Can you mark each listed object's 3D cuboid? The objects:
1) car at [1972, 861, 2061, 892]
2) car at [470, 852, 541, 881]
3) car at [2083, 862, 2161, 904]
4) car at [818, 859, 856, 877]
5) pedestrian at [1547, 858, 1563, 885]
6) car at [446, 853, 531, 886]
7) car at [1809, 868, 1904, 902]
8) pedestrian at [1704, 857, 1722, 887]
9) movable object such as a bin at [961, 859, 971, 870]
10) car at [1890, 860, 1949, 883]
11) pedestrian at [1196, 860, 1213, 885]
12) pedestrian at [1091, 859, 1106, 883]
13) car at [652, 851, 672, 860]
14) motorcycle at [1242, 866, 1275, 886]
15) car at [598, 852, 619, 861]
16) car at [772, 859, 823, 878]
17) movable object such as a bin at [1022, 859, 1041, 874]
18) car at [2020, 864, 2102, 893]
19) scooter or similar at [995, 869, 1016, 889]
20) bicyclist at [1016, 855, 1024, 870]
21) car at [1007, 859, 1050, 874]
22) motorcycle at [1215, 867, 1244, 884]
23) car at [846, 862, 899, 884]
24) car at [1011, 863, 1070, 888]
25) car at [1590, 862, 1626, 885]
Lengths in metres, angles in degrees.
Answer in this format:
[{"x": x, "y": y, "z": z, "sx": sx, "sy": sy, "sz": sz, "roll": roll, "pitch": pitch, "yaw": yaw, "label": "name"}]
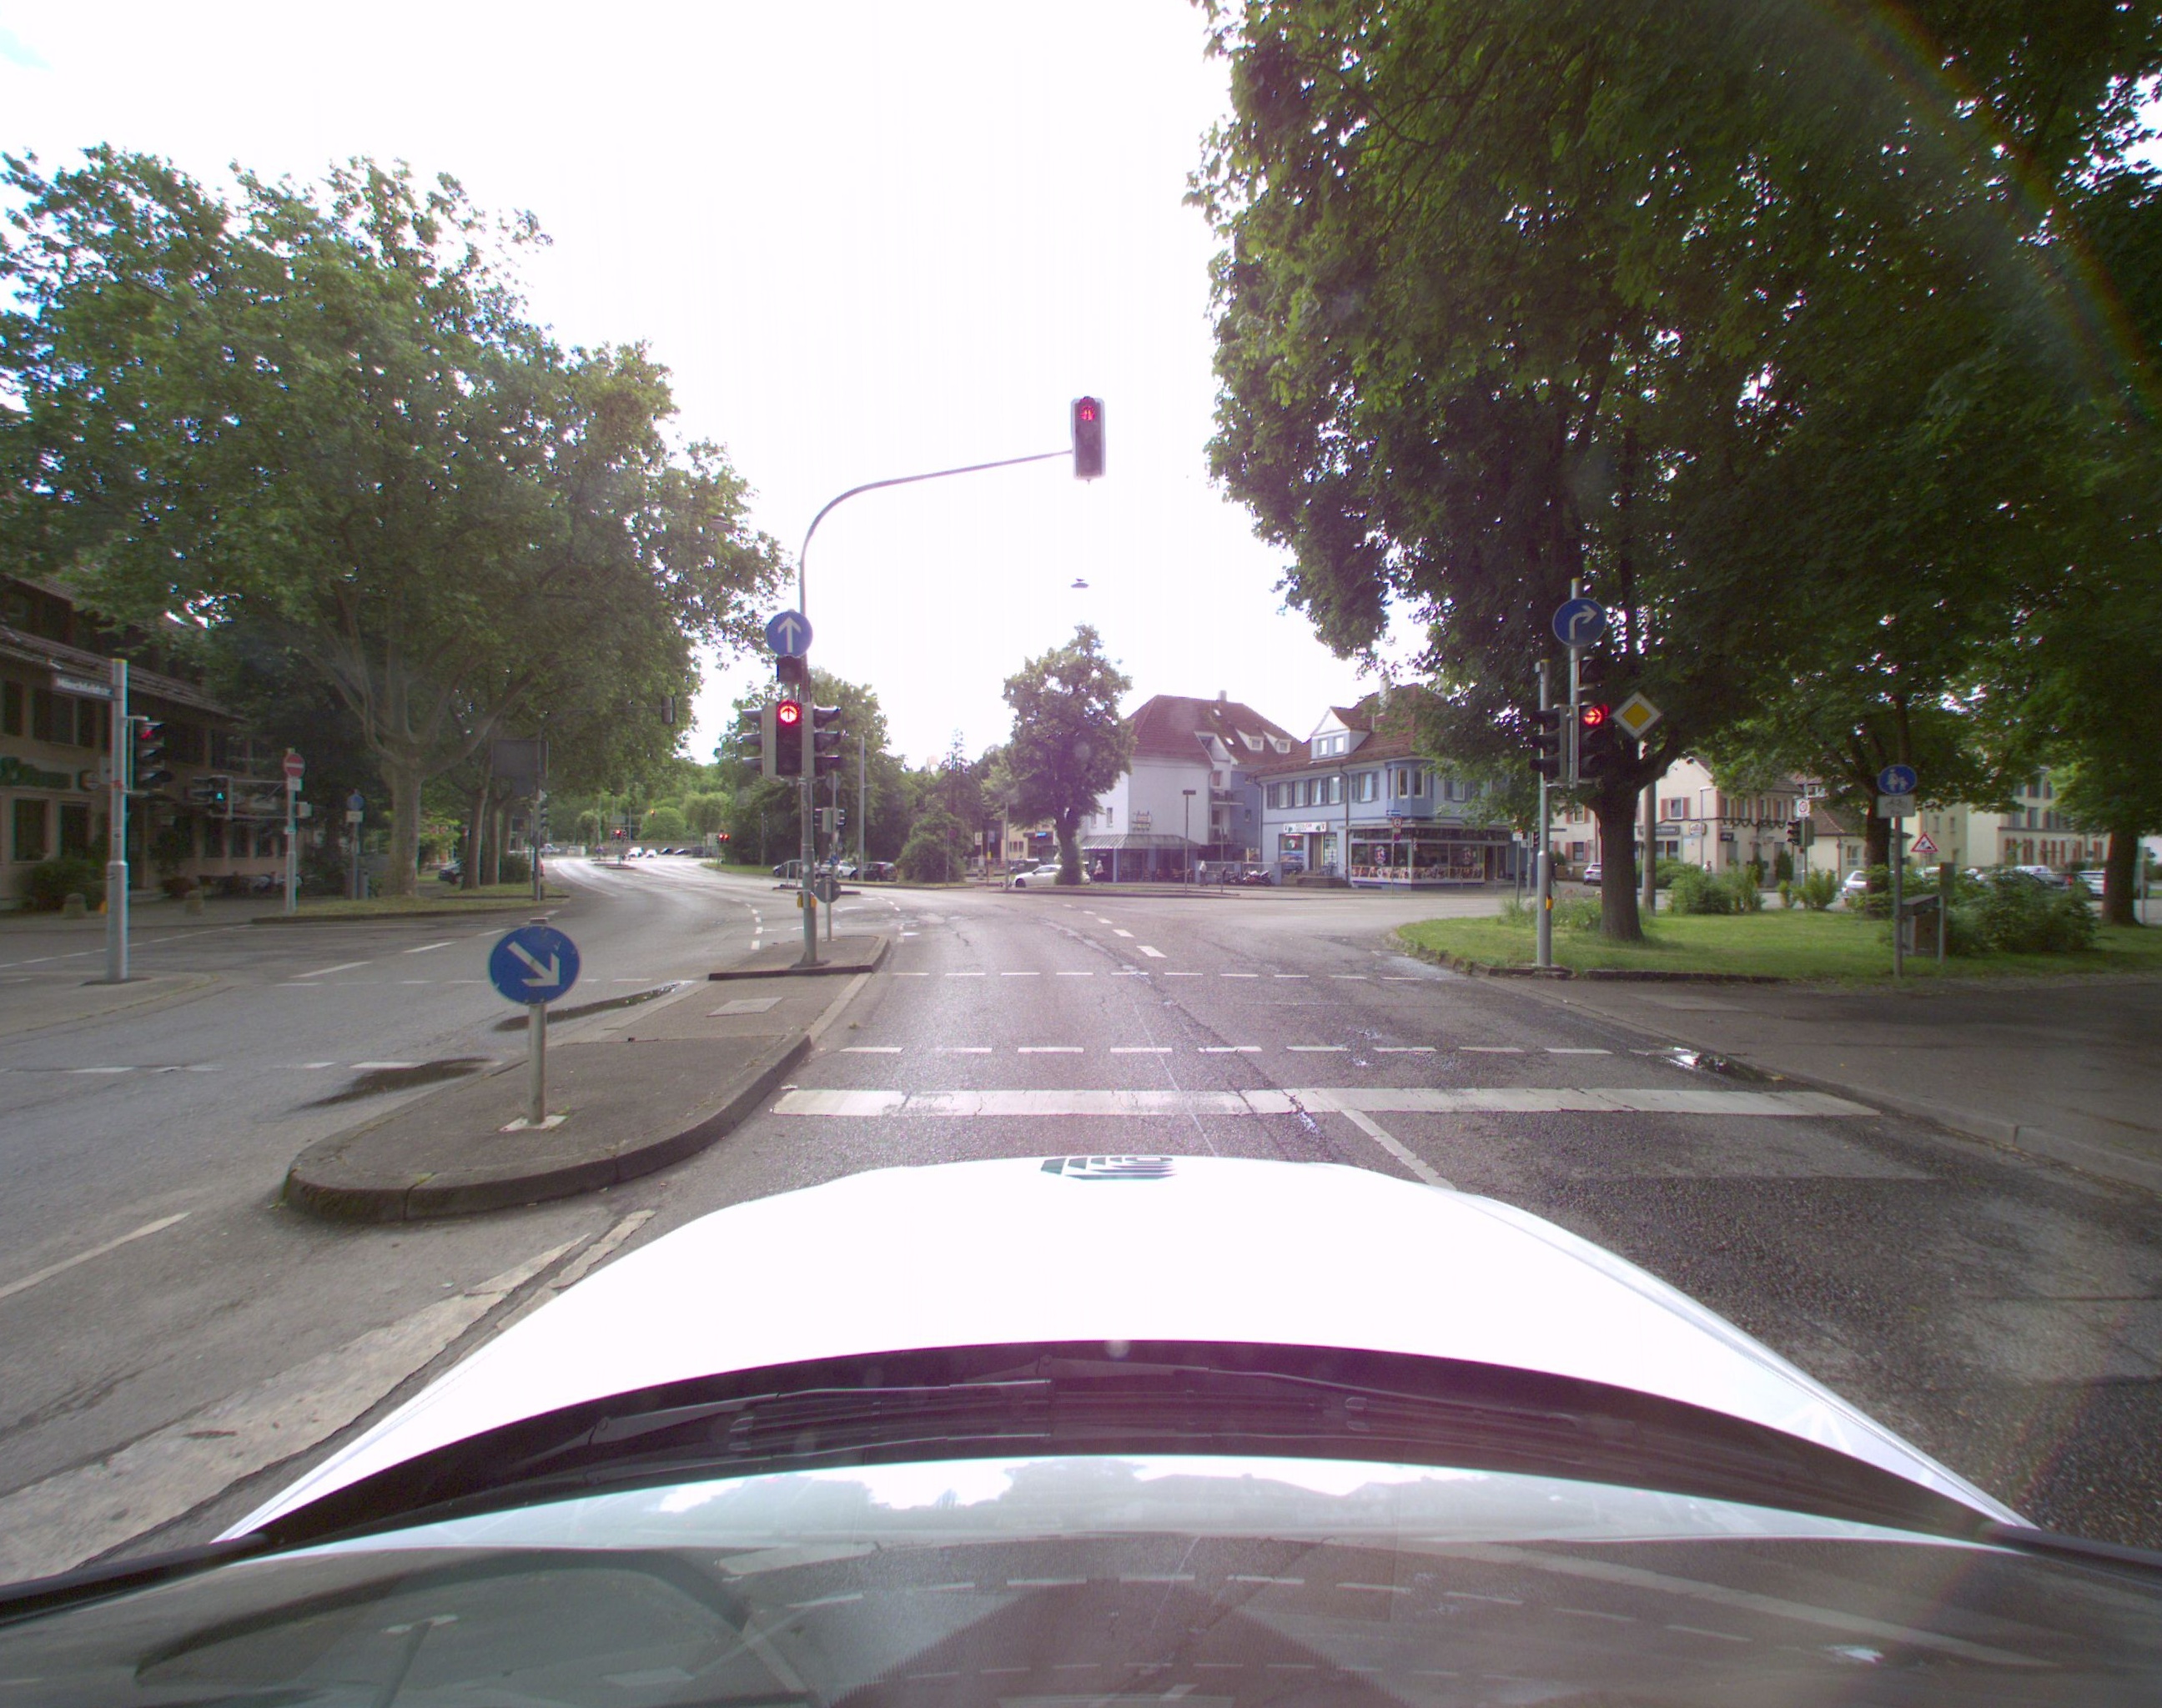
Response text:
[{"x": 42.219, "y": 0.975, "z": 36.753, "sx": 3.510, "sy": 1.321, "sz": 1.549, "roll": 0, "pitch": 0, "yaw": -21, "label": "car"}, {"x": -35.480, "y": 0.759, "z": 50.288, "sx": 3.461, "sy": 1.742, "sz": 1.557, "roll": 0, "pitch": -1, "yaw": -31, "label": "car"}, {"x": 52.834, "y": 1.434, "z": 41.126, "sx": 4.004, "sy": 2.014, "sz": 1.770, "roll": 0, "pitch": -1, "yaw": -23, "label": "car"}, {"x": -20.075, "y": 1.132, "z": 67.191, "sx": 1.534, "sy": 1.464, "sz": 3.407, "roll": 0, "pitch": 0, "yaw": 13, "label": "car"}, {"x": 27.211, "y": 0.993, "z": 46.744, "sx": 0.459, "sy": 1.517, "sz": 0.584, "roll": 0, "pitch": -1, "yaw": -18, "label": "pedestrian"}, {"x": -30.998, "y": 0.786, "z": 42.722, "sx": 3.461, "sy": 1.641, "sz": 1.557, "roll": 0, "pitch": -1, "yaw": -31, "label": "car"}, {"x": 31.966, "y": 1.251, "z": 33.570, "sx": 3.511, "sy": 1.321, "sz": 1.549, "roll": 0, "pitch": 0, "yaw": -22, "label": "car"}, {"x": 34.773, "y": 0.991, "z": 44.818, "sx": 0.604, "sy": 1.649, "sz": 0.613, "roll": 0, "pitch": -1, "yaw": 23, "label": "pedestrian"}, {"x": -12.216, "y": 1.121, "z": 86.643, "sx": 0.953, "sy": 1.115, "sz": 0.381, "roll": 0, "pitch": -1, "yaw": -19, "label": "movable object such as a bin"}, {"x": 55.119, "y": 1.125, "z": 53.530, "sx": 4.007, "sy": 1.420, "sz": 1.544, "roll": 0, "pitch": 0, "yaw": -26, "label": "car"}, {"x": 7.492, "y": 1.115, "z": 49.401, "sx": 0.759, "sy": 1.545, "sz": 0.682, "roll": -1, "pitch": -1, "yaw": 41, "label": "pedestrian"}, {"x": 1.158, "y": 1.109, "z": 53.810, "sx": 0.699, "sy": 1.545, "sz": 0.682, "roll": -1, "pitch": -1, "yaw": 42, "label": "pedestrian"}, {"x": -95.488, "y": 0.439, "z": 185.611, "sx": 4.011, "sy": 2.014, "sz": 1.981, "roll": 0, "pitch": -1, "yaw": -29, "label": "car"}, {"x": 10.538, "y": 1.288, "z": 48.266, "sx": 1.777, "sy": 1.121, "sz": 0.699, "roll": 0, "pitch": -1, "yaw": 40, "label": "motorcycle"}, {"x": -106.167, "y": 0.498, "z": 183.036, "sx": 4.011, "sy": 2.014, "sz": 1.981, "roll": 0, "pitch": -1, "yaw": -29, "label": "car"}, {"x": -22.434, "y": 1.116, "z": 64.489, "sx": 3.520, "sy": 1.464, "sz": 1.591, "roll": 0, "pitch": 0, "yaw": 14, "label": "car"}, {"x": -4.519, "y": 1.134, "z": 74.252, "sx": 1.447, "sy": 1.409, "sz": 0.959, "roll": 0, "pitch": -1, "yaw": -25, "label": "movable object such as a bin"}, {"x": 47.006, "y": 1.166, "z": 39.060, "sx": 3.511, "sy": 1.321, "sz": 1.549, "roll": 0, "pitch": 0, "yaw": -22, "label": "car"}, {"x": -3.974, "y": 1.291, "z": 42.885, "sx": 0.413, "sy": 1.011, "sz": 1.575, "roll": -1, "pitch": -1, "yaw": 22, "label": "scooter or similar"}, {"x": -6.327, "y": 0.868, "z": 84.957, "sx": 0.739, "sy": 1.541, "sz": 0.596, "roll": 0, "pitch": -1, "yaw": -17, "label": "bicyclist"}, {"x": -4.876, "y": 1.136, "z": 76.160, "sx": 3.752, "sy": 1.345, "sz": 1.422, "roll": 0, "pitch": 0, "yaw": -25, "label": "car"}, {"x": 9.117, "y": 1.314, "z": 50.081, "sx": 0.699, "sy": 1.064, "sz": 1.617, "roll": 0, "pitch": -1, "yaw": -44, "label": "motorcycle"}, {"x": -13.903, "y": 1.268, "z": 54.209, "sx": 3.549, "sy": 1.394, "sz": 1.481, "roll": 0, "pitch": -1, "yaw": 34, "label": "car"}, {"x": -2.305, "y": 1.203, "z": 46.242, "sx": 3.134, "sy": 1.354, "sz": 1.448, "roll": 0, "pitch": -1, "yaw": 36, "label": "car"}, {"x": 32.606, "y": 1.184, "z": 50.342, "sx": 1.481, "sy": 1.369, "sz": 3.198, "roll": -1, "pitch": -1, "yaw": 40, "label": "car"}]
